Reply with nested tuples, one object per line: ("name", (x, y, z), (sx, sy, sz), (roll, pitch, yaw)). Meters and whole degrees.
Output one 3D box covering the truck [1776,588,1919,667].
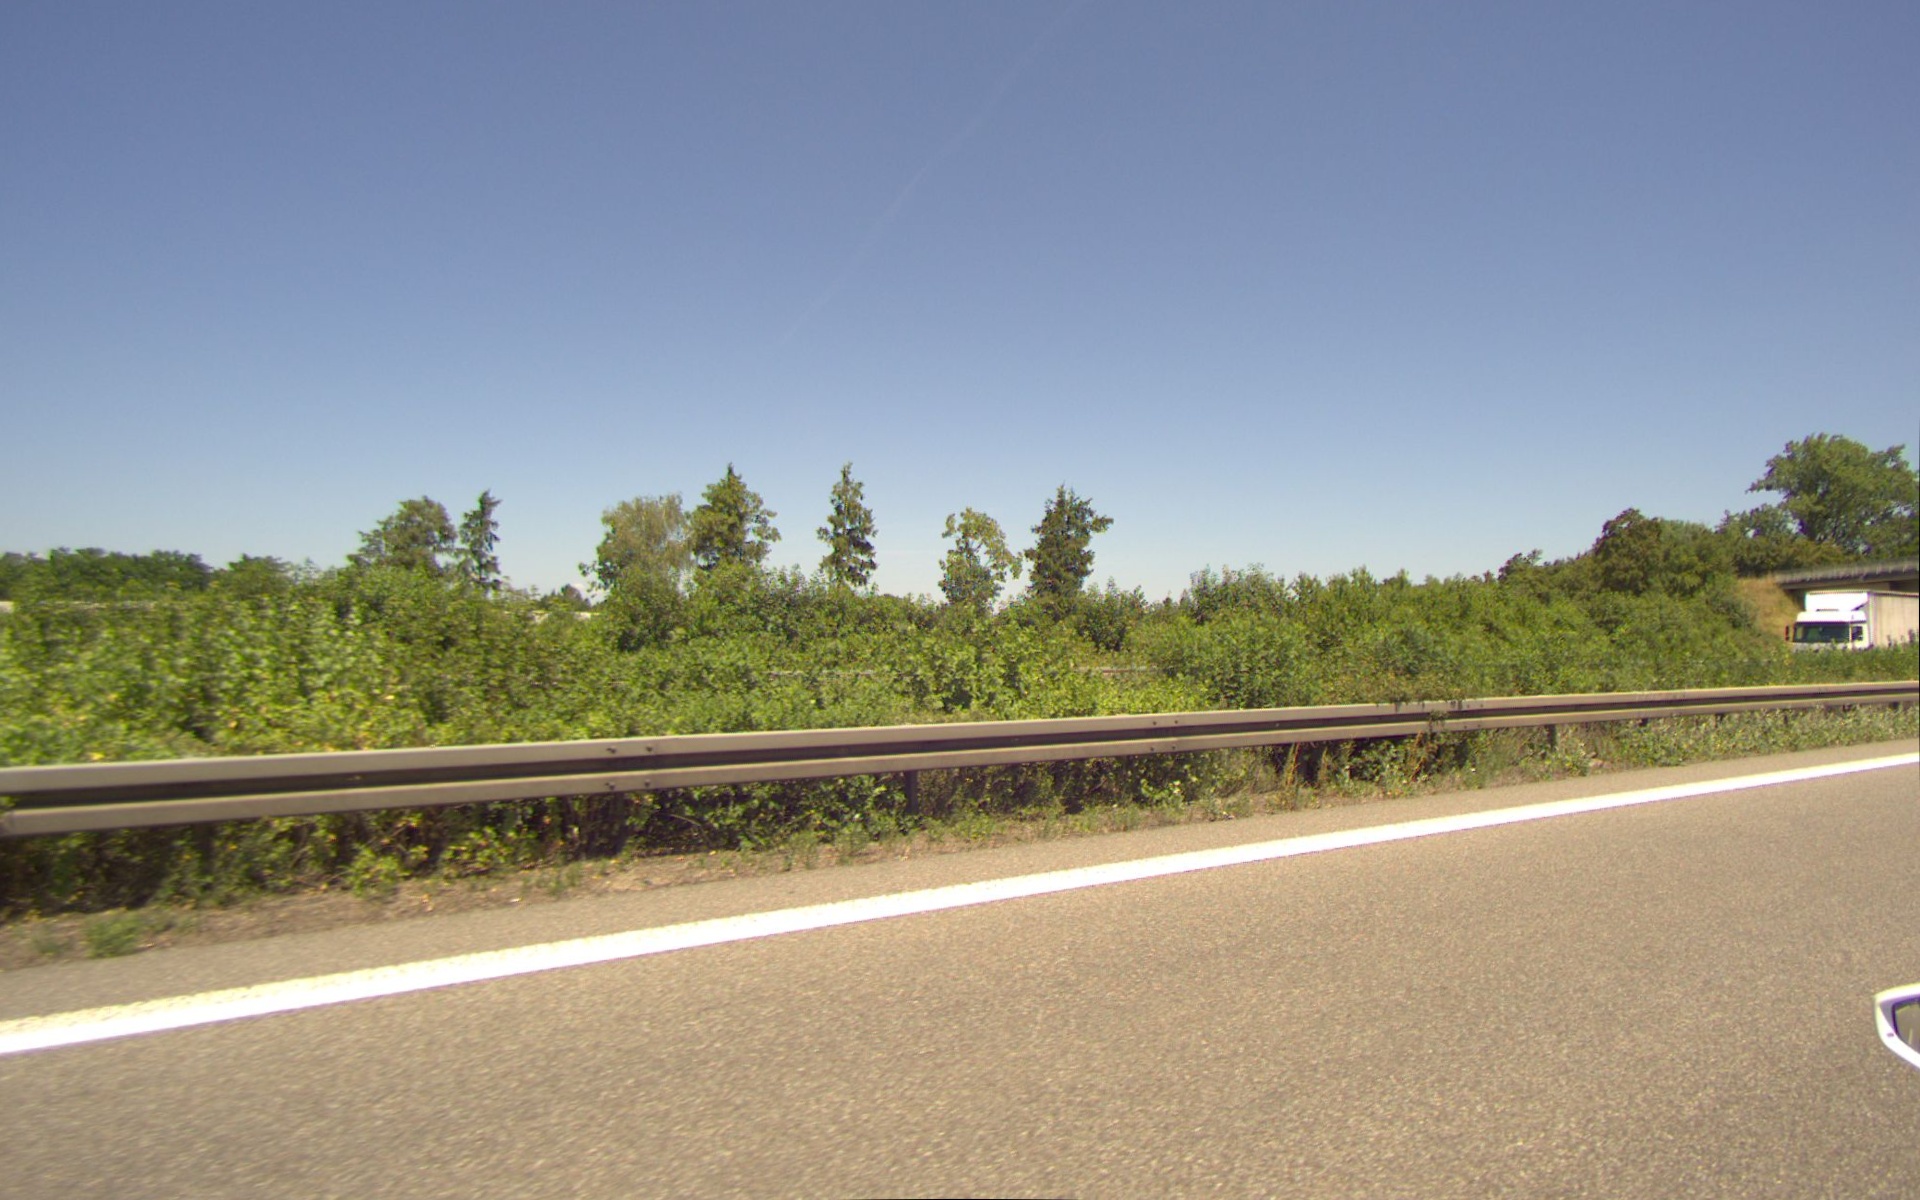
("truck", (44.140, 1.356, 49.155), (10.608, 3.544, 2.864), (1, 0, -30))
